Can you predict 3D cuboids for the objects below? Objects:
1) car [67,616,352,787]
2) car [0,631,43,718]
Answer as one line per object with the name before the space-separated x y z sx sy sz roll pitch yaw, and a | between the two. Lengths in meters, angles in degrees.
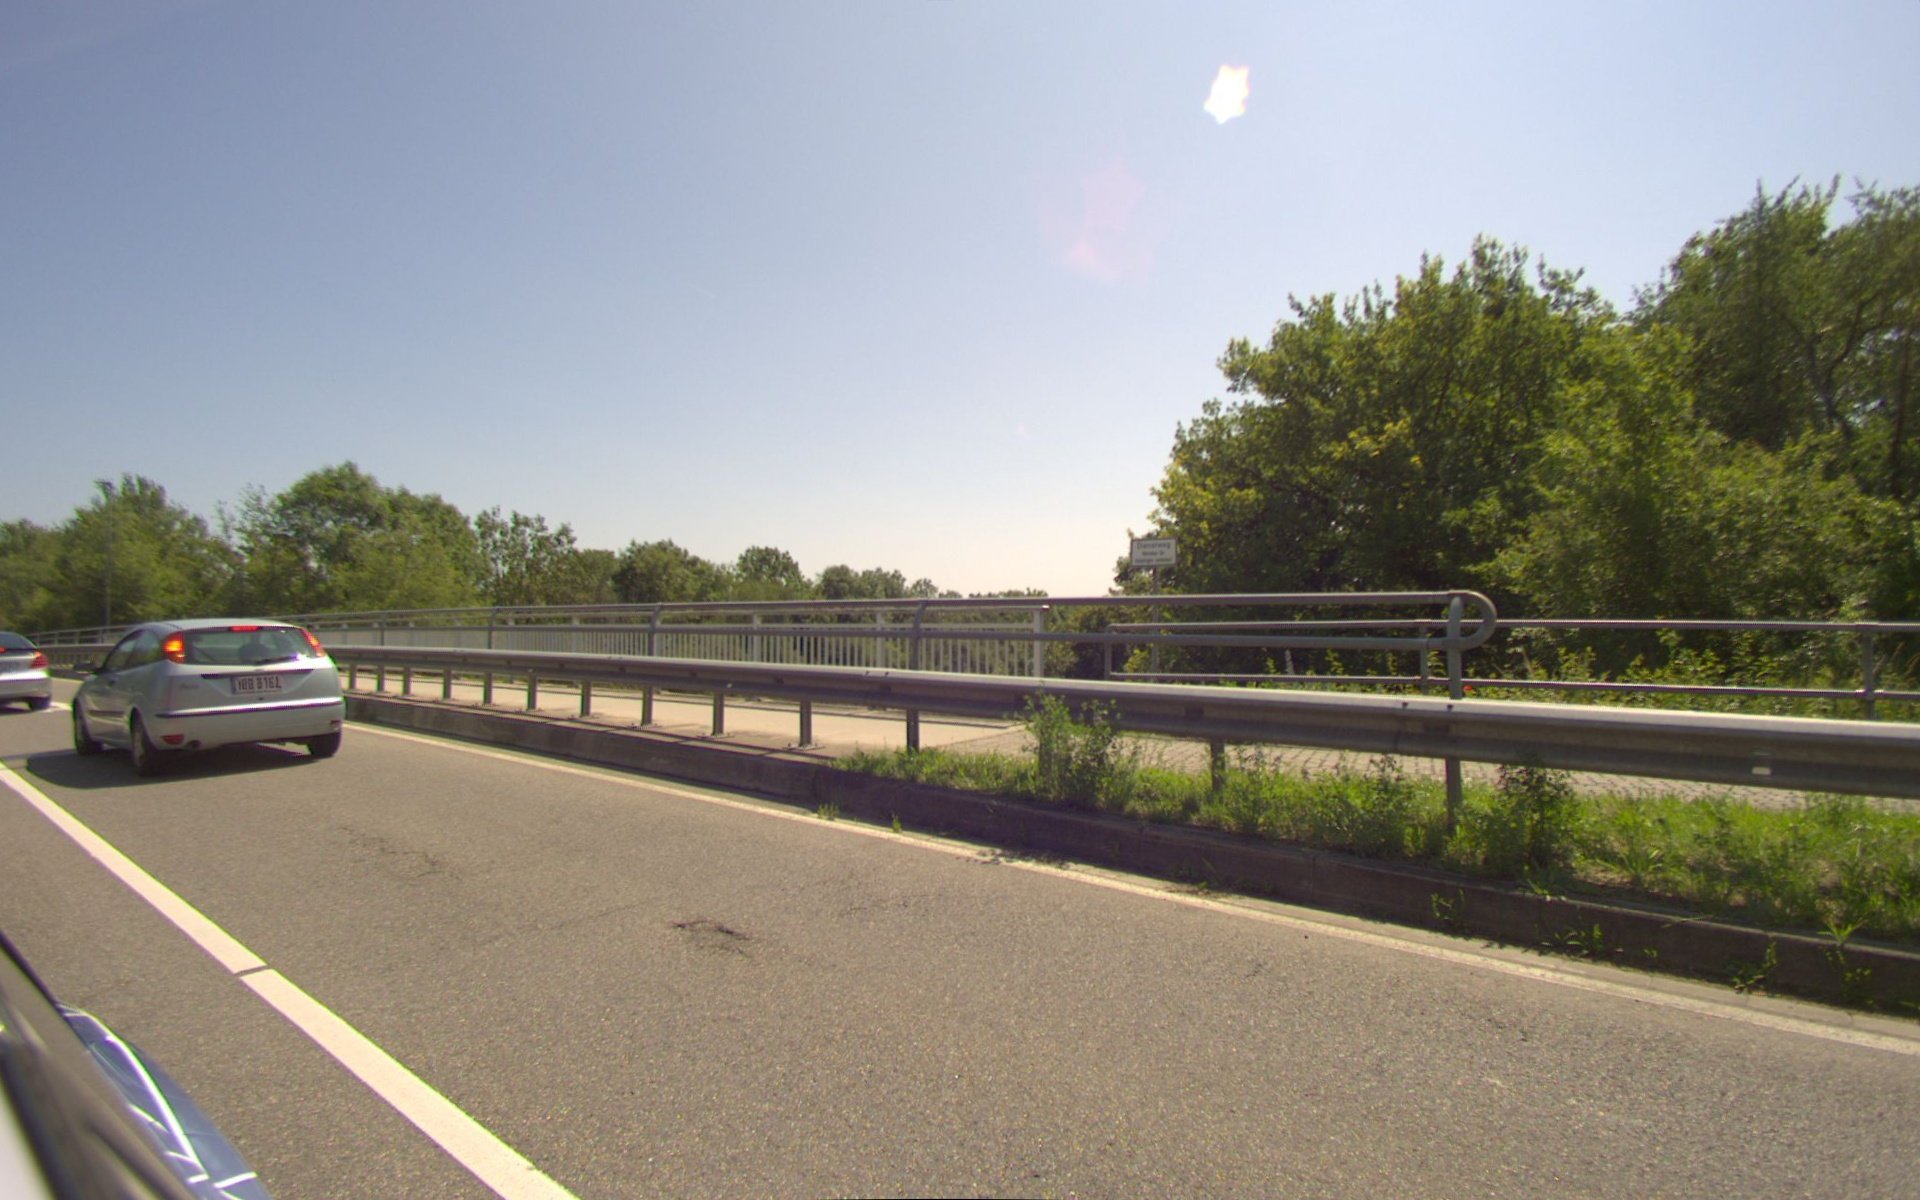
car | -8.047 0.933 10.735 3.706 1.468 1.776 -2 -1 43
car | -17.188 1.247 17.442 3.936 1.392 1.626 -2 -1 41
